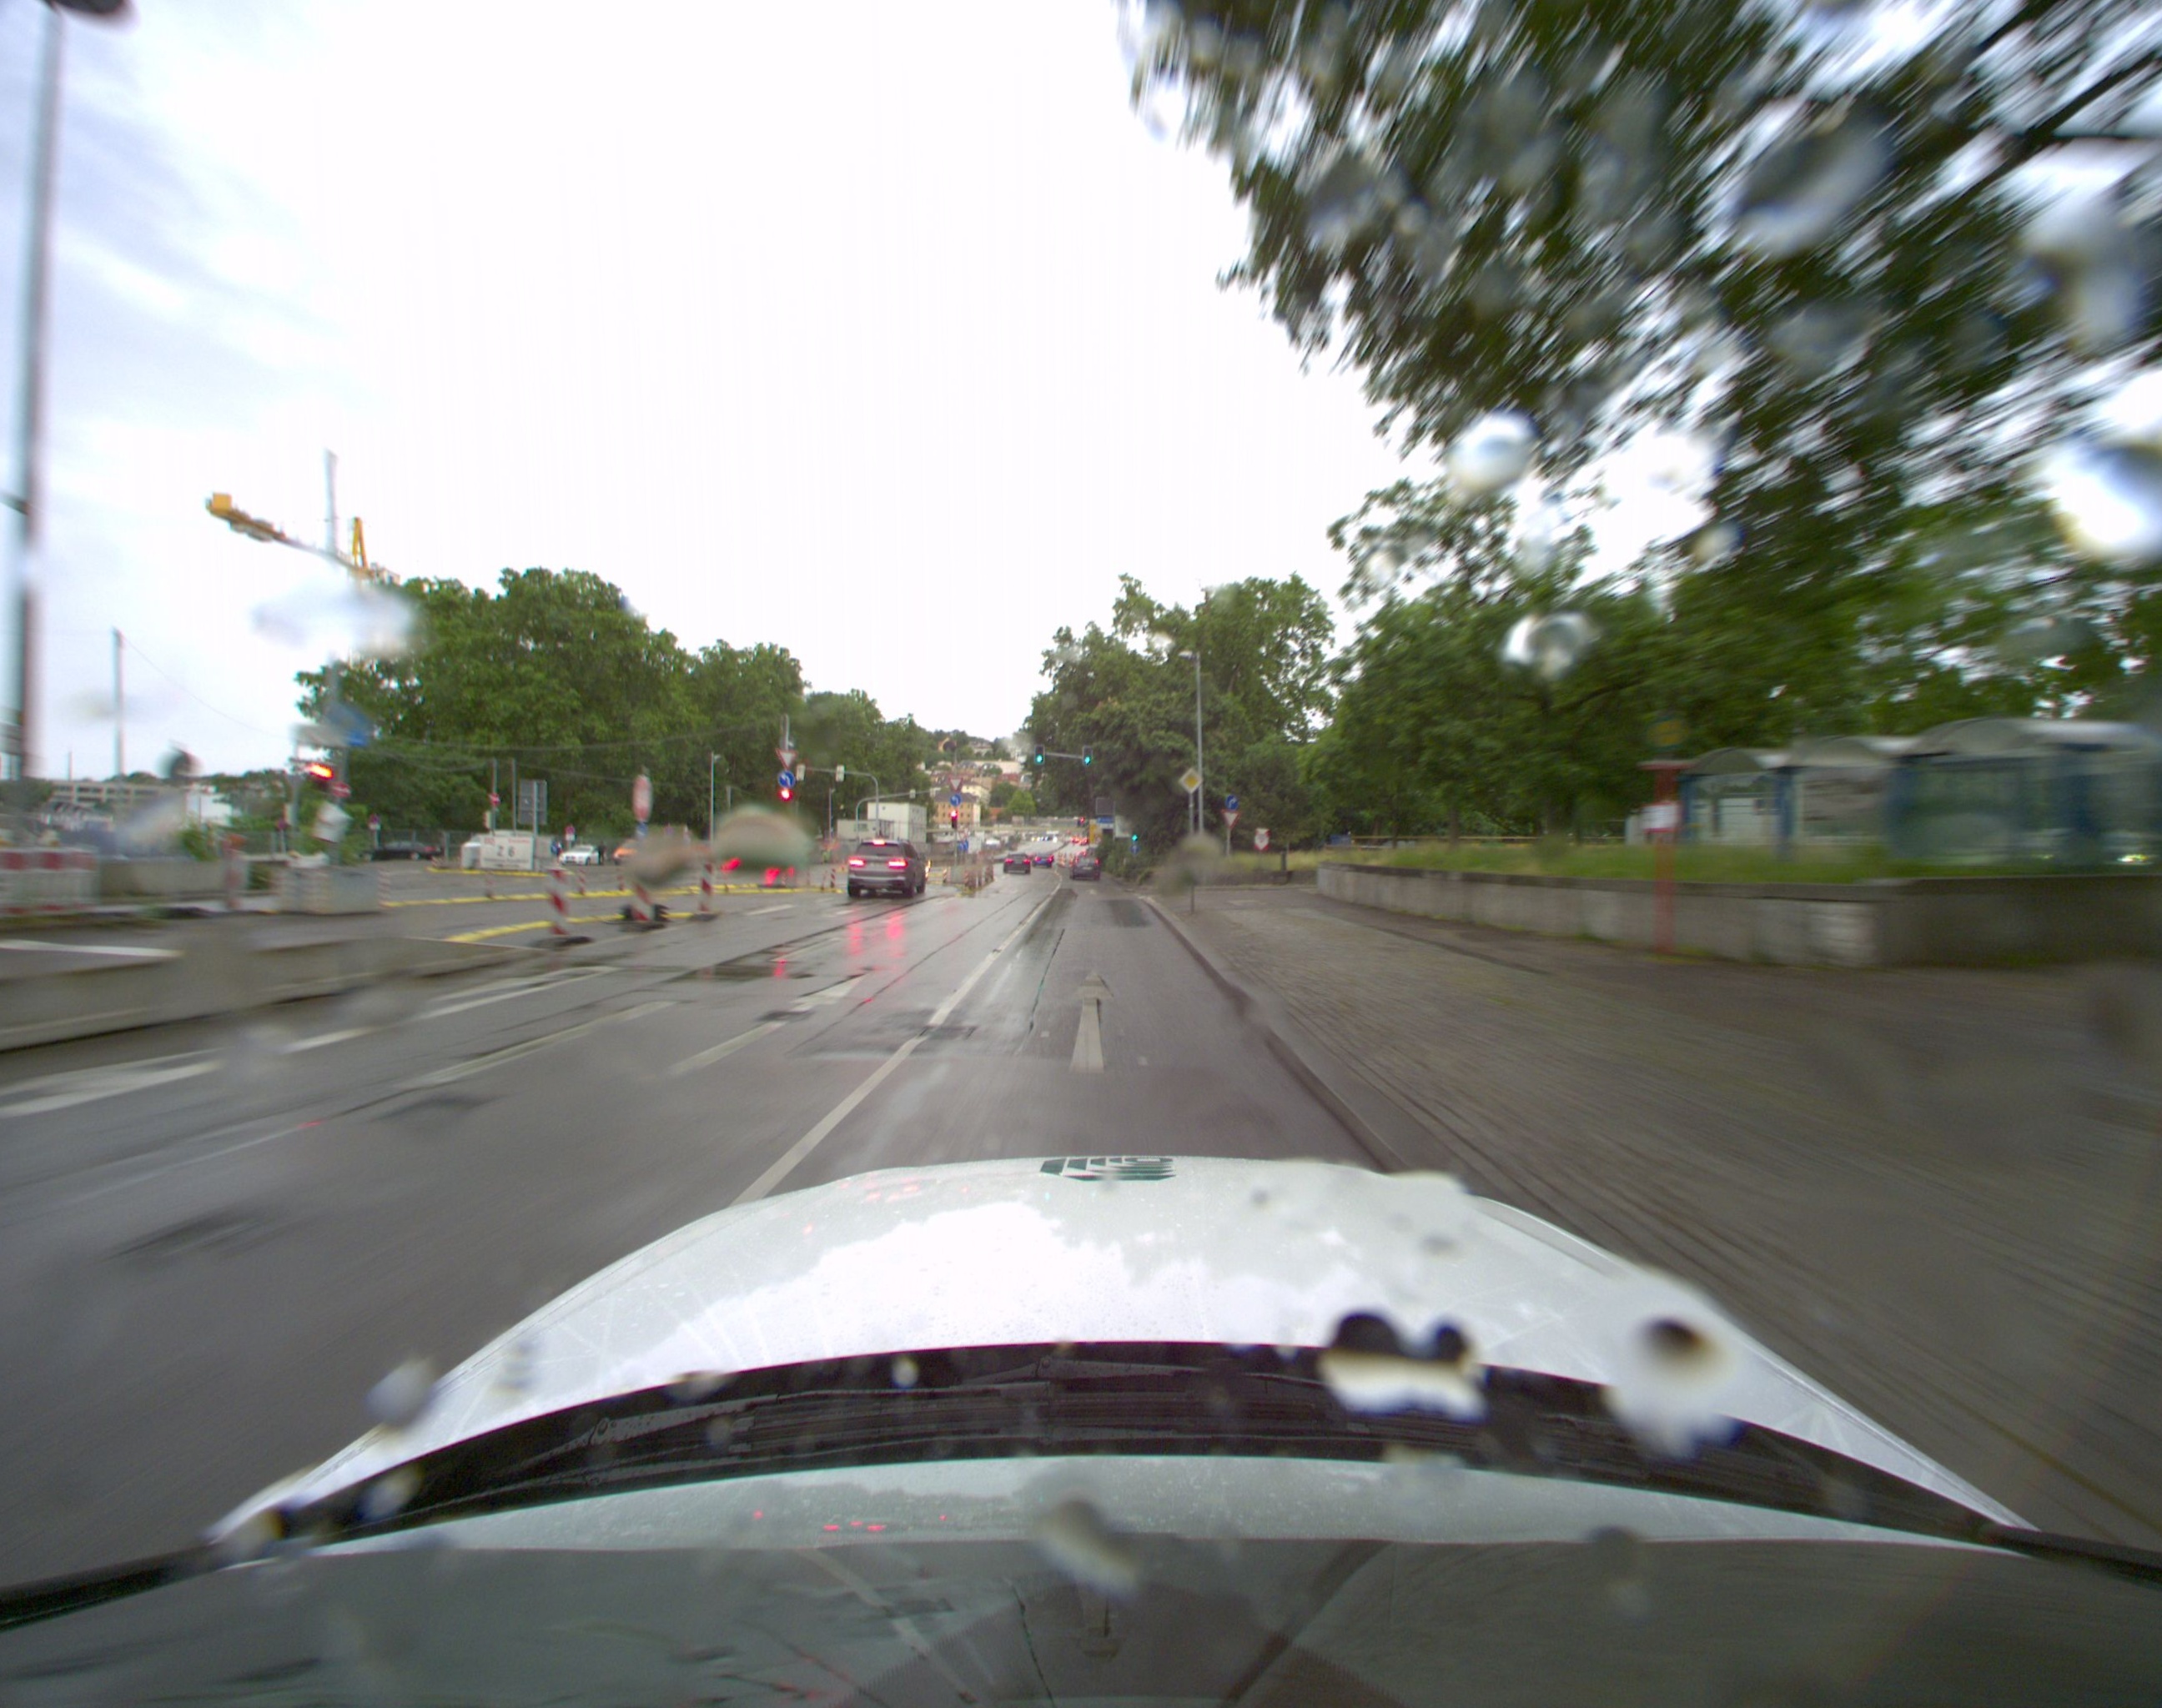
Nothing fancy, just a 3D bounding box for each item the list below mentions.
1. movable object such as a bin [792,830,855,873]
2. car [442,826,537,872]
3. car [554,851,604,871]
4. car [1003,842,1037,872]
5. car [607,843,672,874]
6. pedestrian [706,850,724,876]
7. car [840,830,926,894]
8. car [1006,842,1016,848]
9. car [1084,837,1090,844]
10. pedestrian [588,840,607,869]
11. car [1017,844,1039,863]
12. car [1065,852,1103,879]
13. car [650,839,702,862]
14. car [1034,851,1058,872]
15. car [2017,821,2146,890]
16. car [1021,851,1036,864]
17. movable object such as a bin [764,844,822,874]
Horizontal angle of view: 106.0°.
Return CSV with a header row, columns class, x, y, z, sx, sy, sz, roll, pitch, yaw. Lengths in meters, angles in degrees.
class,x,y,z,sx,sy,sz,roll,pitch,yaw
movable object such as a bin,-30.156,-0.297,96.017,4.735,4.803,8.358,0,-1,0
car,-41.597,-0.314,57.495,2.267,3.066,6.165,0,-1,-1
car,-35.351,0.494,57.456,1.759,1.415,3.818,0,-1,-12
car,-4.341,0.221,58.331,2.009,2.014,4.001,0,-1,2
car,-32.855,0.332,60.779,1.989,2.100,5.575,-2,0,-3
pedestrian,-29.606,0.717,65.965,1.183,2.014,1.166,1,-1,-19
car,-6.396,0.260,26.869,2.208,1.863,5.060,1,0,-8
car,-19.040,-2.471,220.911,1.984,1.621,4.007,0,2,5
car,1.795,-3.960,242.901,1.987,1.869,4.000,0,-1,0
pedestrian,-33.978,0.043,57.250,0.919,2.013,0.737,0,0,-7
car,-6.339,-0.085,97.261,1.984,2.013,4.006,-2,3,4
car,0.143,0.670,48.461,1.810,1.527,3.992,-1,0,-6
car,-33.090,-0.260,66.713,1.839,1.761,4.796,0,-1,-1
car,-3.463,0.734,80.867,2.097,2.050,4.001,0,-1,2
car,26.385,0.030,21.477,4.782,1.629,1.977,0,-1,-38
car,-8.363,0.550,129.732,2.044,2.014,4.000,0,-1,1
movable object such as a bin,-30.655,0.541,86.979,3.919,3.128,6.387,0,-1,0
